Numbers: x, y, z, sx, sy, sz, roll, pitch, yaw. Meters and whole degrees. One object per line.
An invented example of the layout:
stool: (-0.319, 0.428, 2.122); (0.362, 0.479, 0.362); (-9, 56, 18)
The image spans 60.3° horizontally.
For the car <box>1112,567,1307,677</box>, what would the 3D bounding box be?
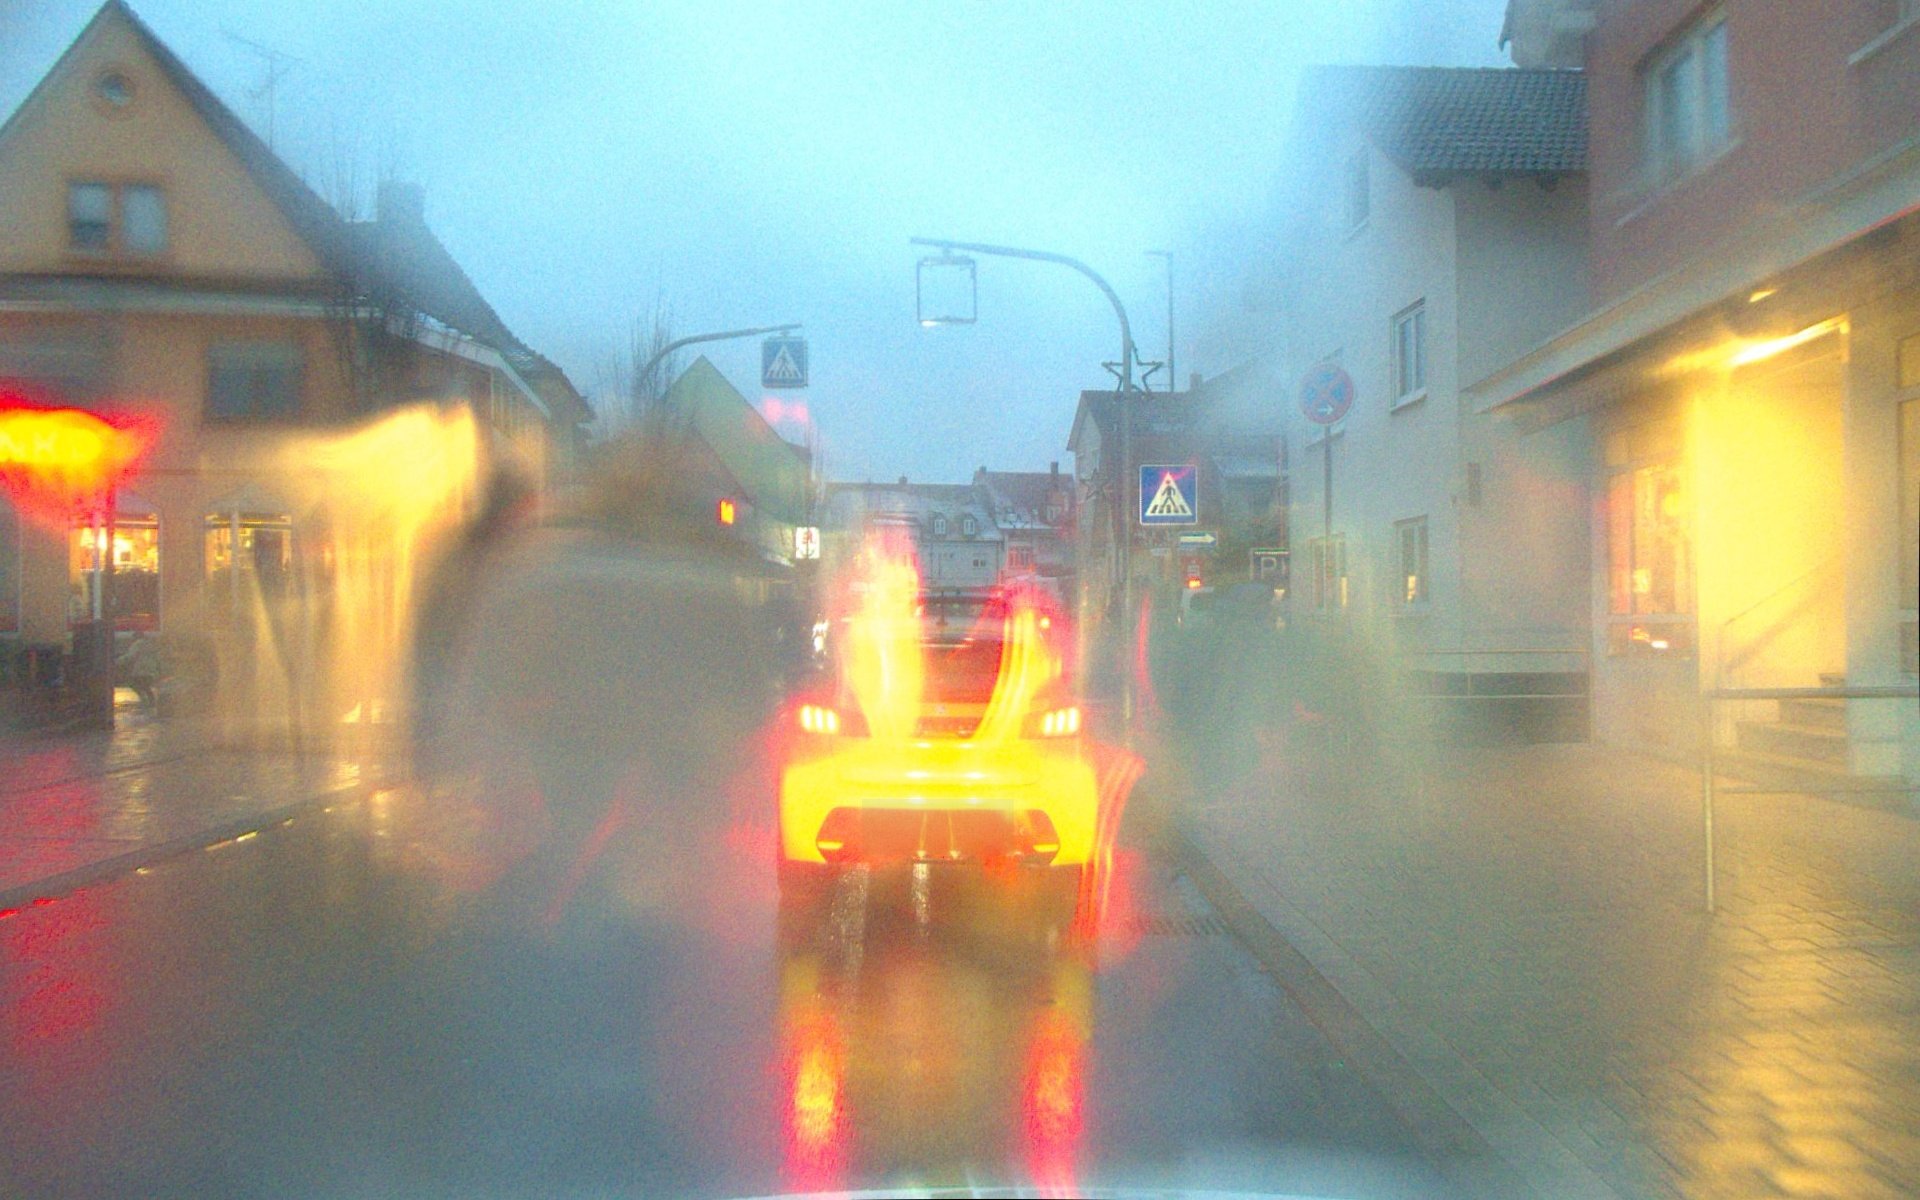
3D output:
car: (4.838, 0.425, 32.436); (3.620, 2.049, 1.690); (1, -1, 2)

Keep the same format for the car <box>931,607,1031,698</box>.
car: (0.436, 0.963, 31.955); (1.789, 1.629, 4.582); (0, 0, 1)

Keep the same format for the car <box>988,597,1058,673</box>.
car: (1.782, 0.961, 47.827); (1.609, 2.049, 3.997); (-2, 0, -3)

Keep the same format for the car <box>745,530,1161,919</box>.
car: (0.050, 0.577, 10.125); (1.952, 1.827, 4.649); (0, 0, 2)

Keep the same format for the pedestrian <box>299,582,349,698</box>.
pedestrian: (-9.854, 0.611, 25.643); (0.577, 1.773, 0.683); (0, -1, -8)

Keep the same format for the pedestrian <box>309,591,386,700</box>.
pedestrian: (-10.300, 0.751, 27.846); (0.955, 1.773, 0.960); (1, 0, -6)

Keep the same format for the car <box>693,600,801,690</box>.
car: (-5.077, 1.036, 39.934); (1.952, 2.049, 4.362); (0, 0, 1)

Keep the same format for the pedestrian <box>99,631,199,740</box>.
pedestrian: (-11.655, 1.215, 23.795); (0.872, 1.442, 0.776); (6, -1, 4)

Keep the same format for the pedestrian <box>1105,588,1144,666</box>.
pedestrian: (4.407, 0.719, 44.345); (0.995, 2.049, 1.276); (0, -1, 4)

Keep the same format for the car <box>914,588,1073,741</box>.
car: (0.395, 0.742, 20.434); (1.761, 1.691, 4.000); (1, -1, 1)

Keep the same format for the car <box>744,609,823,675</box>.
car: (-4.964, 1.149, 47.054); (1.953, 1.783, 4.359); (0, 0, -2)

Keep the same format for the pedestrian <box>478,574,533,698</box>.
pedestrian: (-7.132, 0.560, 25.974); (0.689, 1.909, 0.616); (1, 0, -6)
